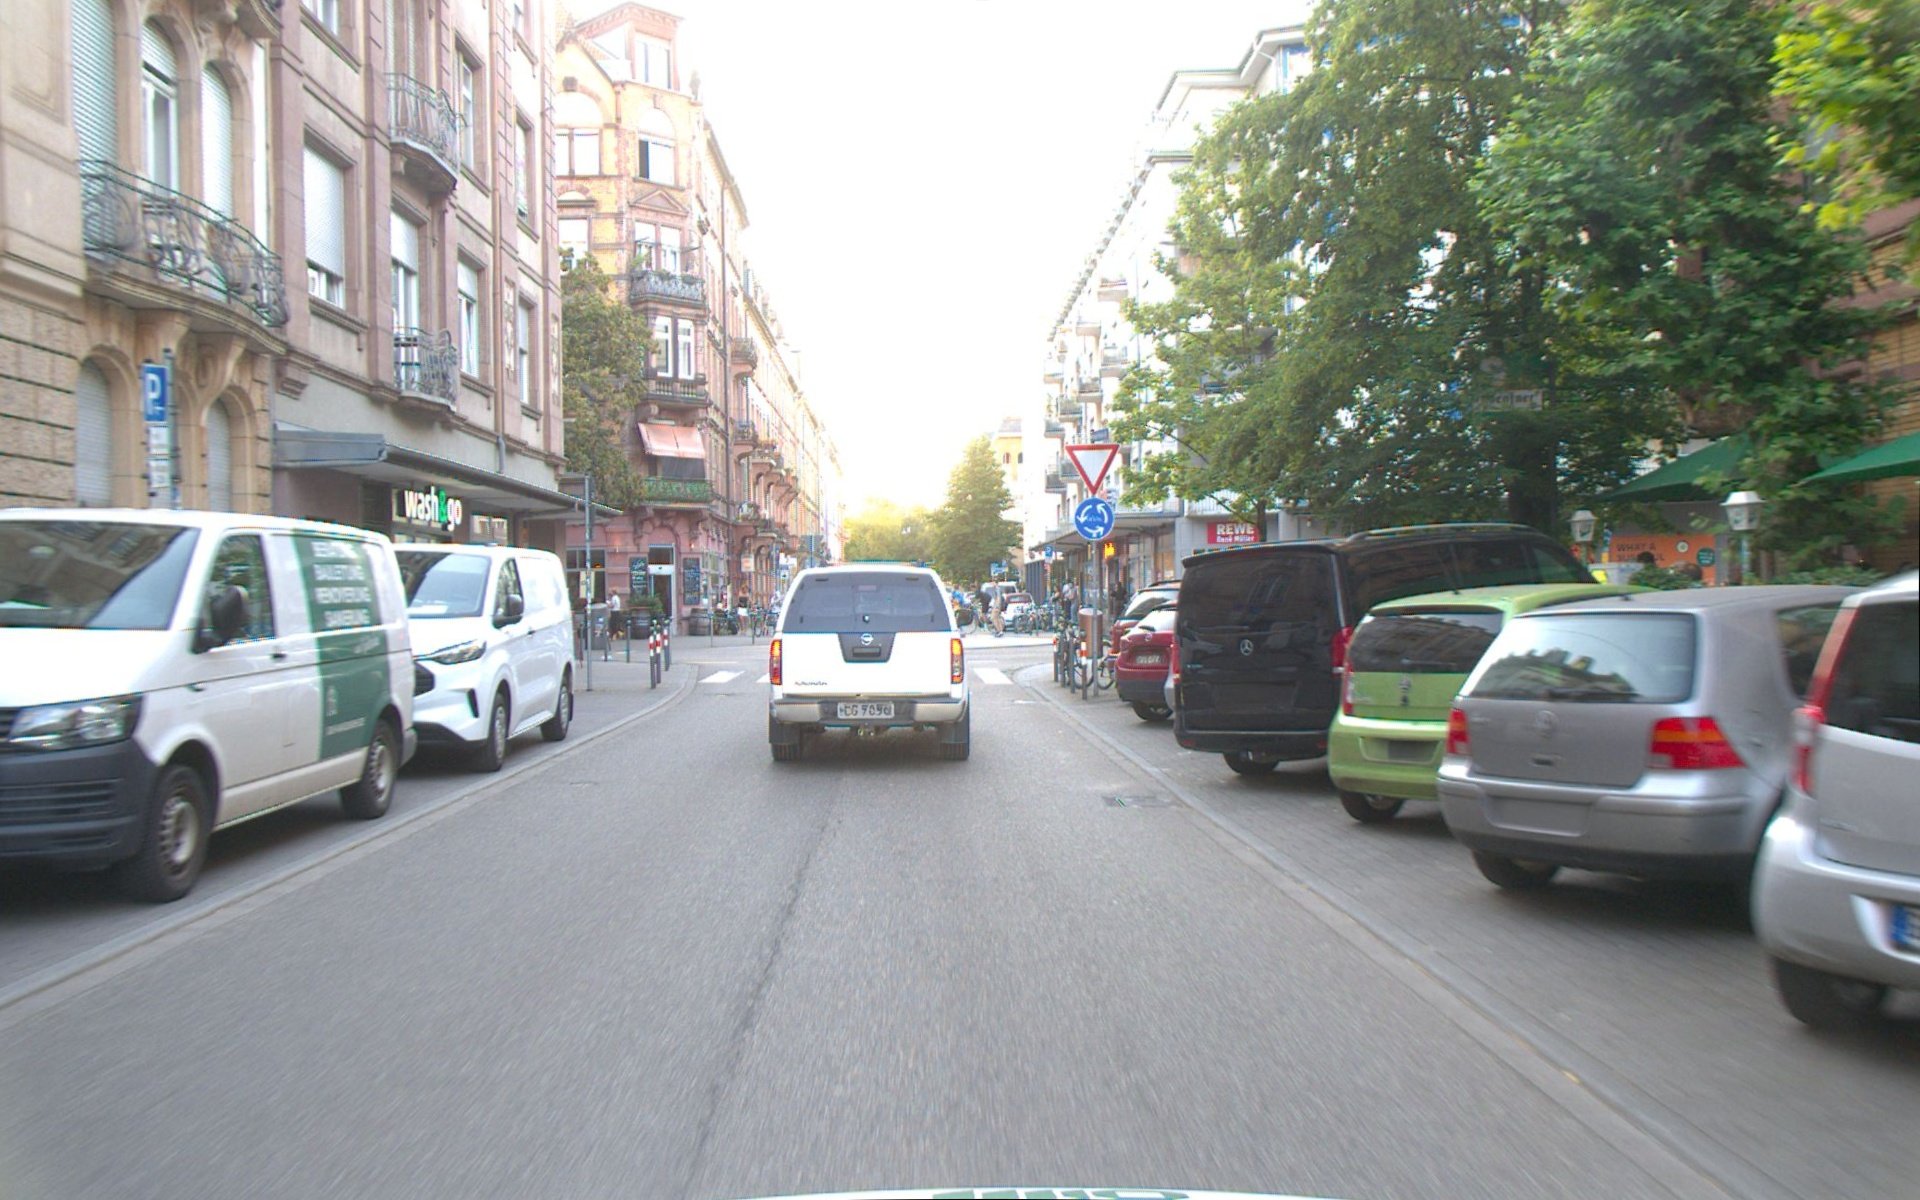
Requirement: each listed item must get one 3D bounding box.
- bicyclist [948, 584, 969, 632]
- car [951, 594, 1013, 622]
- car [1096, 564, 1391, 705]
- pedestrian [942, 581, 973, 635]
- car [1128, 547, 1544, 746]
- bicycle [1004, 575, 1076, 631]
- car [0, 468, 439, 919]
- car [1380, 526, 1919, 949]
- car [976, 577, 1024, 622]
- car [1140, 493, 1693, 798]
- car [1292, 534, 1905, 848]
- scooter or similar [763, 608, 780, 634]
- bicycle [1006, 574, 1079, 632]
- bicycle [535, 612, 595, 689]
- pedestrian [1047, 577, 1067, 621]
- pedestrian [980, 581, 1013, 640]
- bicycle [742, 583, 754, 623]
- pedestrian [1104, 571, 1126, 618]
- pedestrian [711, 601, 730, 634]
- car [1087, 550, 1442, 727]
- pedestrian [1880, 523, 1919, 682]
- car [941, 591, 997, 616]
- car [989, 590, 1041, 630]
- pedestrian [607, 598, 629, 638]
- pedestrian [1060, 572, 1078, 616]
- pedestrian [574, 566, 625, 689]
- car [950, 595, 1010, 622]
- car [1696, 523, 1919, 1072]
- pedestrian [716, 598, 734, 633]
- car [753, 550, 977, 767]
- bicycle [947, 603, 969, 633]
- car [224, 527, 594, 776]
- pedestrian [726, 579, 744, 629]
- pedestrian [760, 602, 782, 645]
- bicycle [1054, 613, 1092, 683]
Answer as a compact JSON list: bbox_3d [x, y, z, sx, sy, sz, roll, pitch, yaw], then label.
[{"bbox_3d":[-0.065,0.343,68.490,0.820,1.978,0.785,0,-1,2],"label":"bicyclist"},{"bbox_3d":[1.432,0.537,107.422,3.907,1.780,1.839,0,-1,-3],"label":"car"},{"bbox_3d":[3.984,0.414,23.014,4.001,1.656,1.673,-3,2,-34],"label":"car"},{"bbox_3d":[-0.091,0.257,54.174,0.889,1.767,0.613,1,-1,-16],"label":"pedestrian"},{"bbox_3d":[3.977,0.405,17.240,4.178,1.650,1.909,-4,1,-36],"label":"car"},{"bbox_3d":[2.927,0.117,60.687,2.593,2.049,0.637,0,-1,-1],"label":"bicycle"},{"bbox_3d":[-4.656,0.409,9.587,1.799,1.955,4.844,-1,0,-1],"label":"car"},{"bbox_3d":[4.235,0.471,8.394,4.060,1.578,1.797,-4,1,-34],"label":"car"},{"bbox_3d":[1.805,-0.005,76.094,1.904,1.967,3.998,0,0,-3],"label":"car"},{"bbox_3d":[4.152,0.236,14.411,5.389,2.108,1.905,-4,1,-41],"label":"car"},{"bbox_3d":[4.349,0.475,11.080,4.060,1.578,1.797,-4,1,-34],"label":"car"},{"bbox_3d":[-7.114,0.790,62.429,0.230,0.945,1.255,1,-1,-27],"label":"scooter or similar"},{"bbox_3d":[2.993,0.111,59.875,2.593,2.049,0.637,0,-1,-1],"label":"bicycle"},{"bbox_3d":[-6.155,0.768,25.848,0.461,1.162,1.785,0,-1,1],"label":"bicycle"},{"bbox_3d":[3.773,-0.030,64.573,0.705,1.692,0.702,0,-1,-2],"label":"pedestrian"},{"bbox_3d":[1.215,0.350,55.118,0.895,1.918,0.609,1,-1,-33],"label":"pedestrian"},{"bbox_3d":[-7.900,0.133,61.698,0.415,1.468,1.902,0,-1,-6],"label":"bicycle"},{"bbox_3d":[5.644,-0.189,60.202,0.705,1.692,0.702,0,-1,0],"label":"pedestrian"},{"bbox_3d":[-8.845,0.632,61.060,0.636,1.211,0.539,0,-1,-6],"label":"pedestrian"},{"bbox_3d":[3.688,0.393,19.664,4.187,1.717,1.905,-4,1,-41],"label":"car"},{"bbox_3d":[8.658,0.029,14.672,0.576,1.390,0.696,0,-1,-6],"label":"pedestrian"},{"bbox_3d":[0.639,0.255,119.390,3.907,1.780,1.839,0,-1,-3],"label":"car"},{"bbox_3d":[2.226,0.400,67.323,1.798,1.569,3.998,0,0,-3],"label":"car"},{"bbox_3d":[-11.279,0.592,54.530,0.446,1.284,0.575,0,-1,22],"label":"pedestrian"},{"bbox_3d":[4.837,-0.241,73.384,0.705,1.940,0.702,0,-1,-2],"label":"pedestrian"},{"bbox_3d":[-5.574,0.419,25.598,0.525,1.855,0.997,0,-1,1],"label":"pedestrian"},{"bbox_3d":[1.301,0.552,109.656,3.907,1.780,1.839,0,-1,-3],"label":"car"},{"bbox_3d":[4.549,0.472,6.021,4.072,1.618,1.792,-4,1,-40],"label":"car"},{"bbox_3d":[-8.855,0.592,62.247,0.636,1.308,0.539,0,-1,-6],"label":"pedestrian"},{"bbox_3d":[-0.803,0.514,16.618,1.898,1.842,5.000,0,0,0],"label":"car"},{"bbox_3d":[-0.090,0.735,68.361,0.820,1.192,1.936,0,0,3],"label":"bicycle"},{"bbox_3d":[-4.933,0.405,15.682,2.067,1.955,5.022,-1,0,-3],"label":"car"},{"bbox_3d":[-8.435,0.149,62.041,0.497,1.872,0.568,1,-1,-25],"label":"pedestrian"},{"bbox_3d":[-7.358,0.905,64.433,0.782,1.649,0.944,0,-1,-4],"label":"pedestrian"},{"bbox_3d":[1.786,0.750,26.320,0.357,1.082,1.550,0,-1,-5],"label":"bicycle"}]
